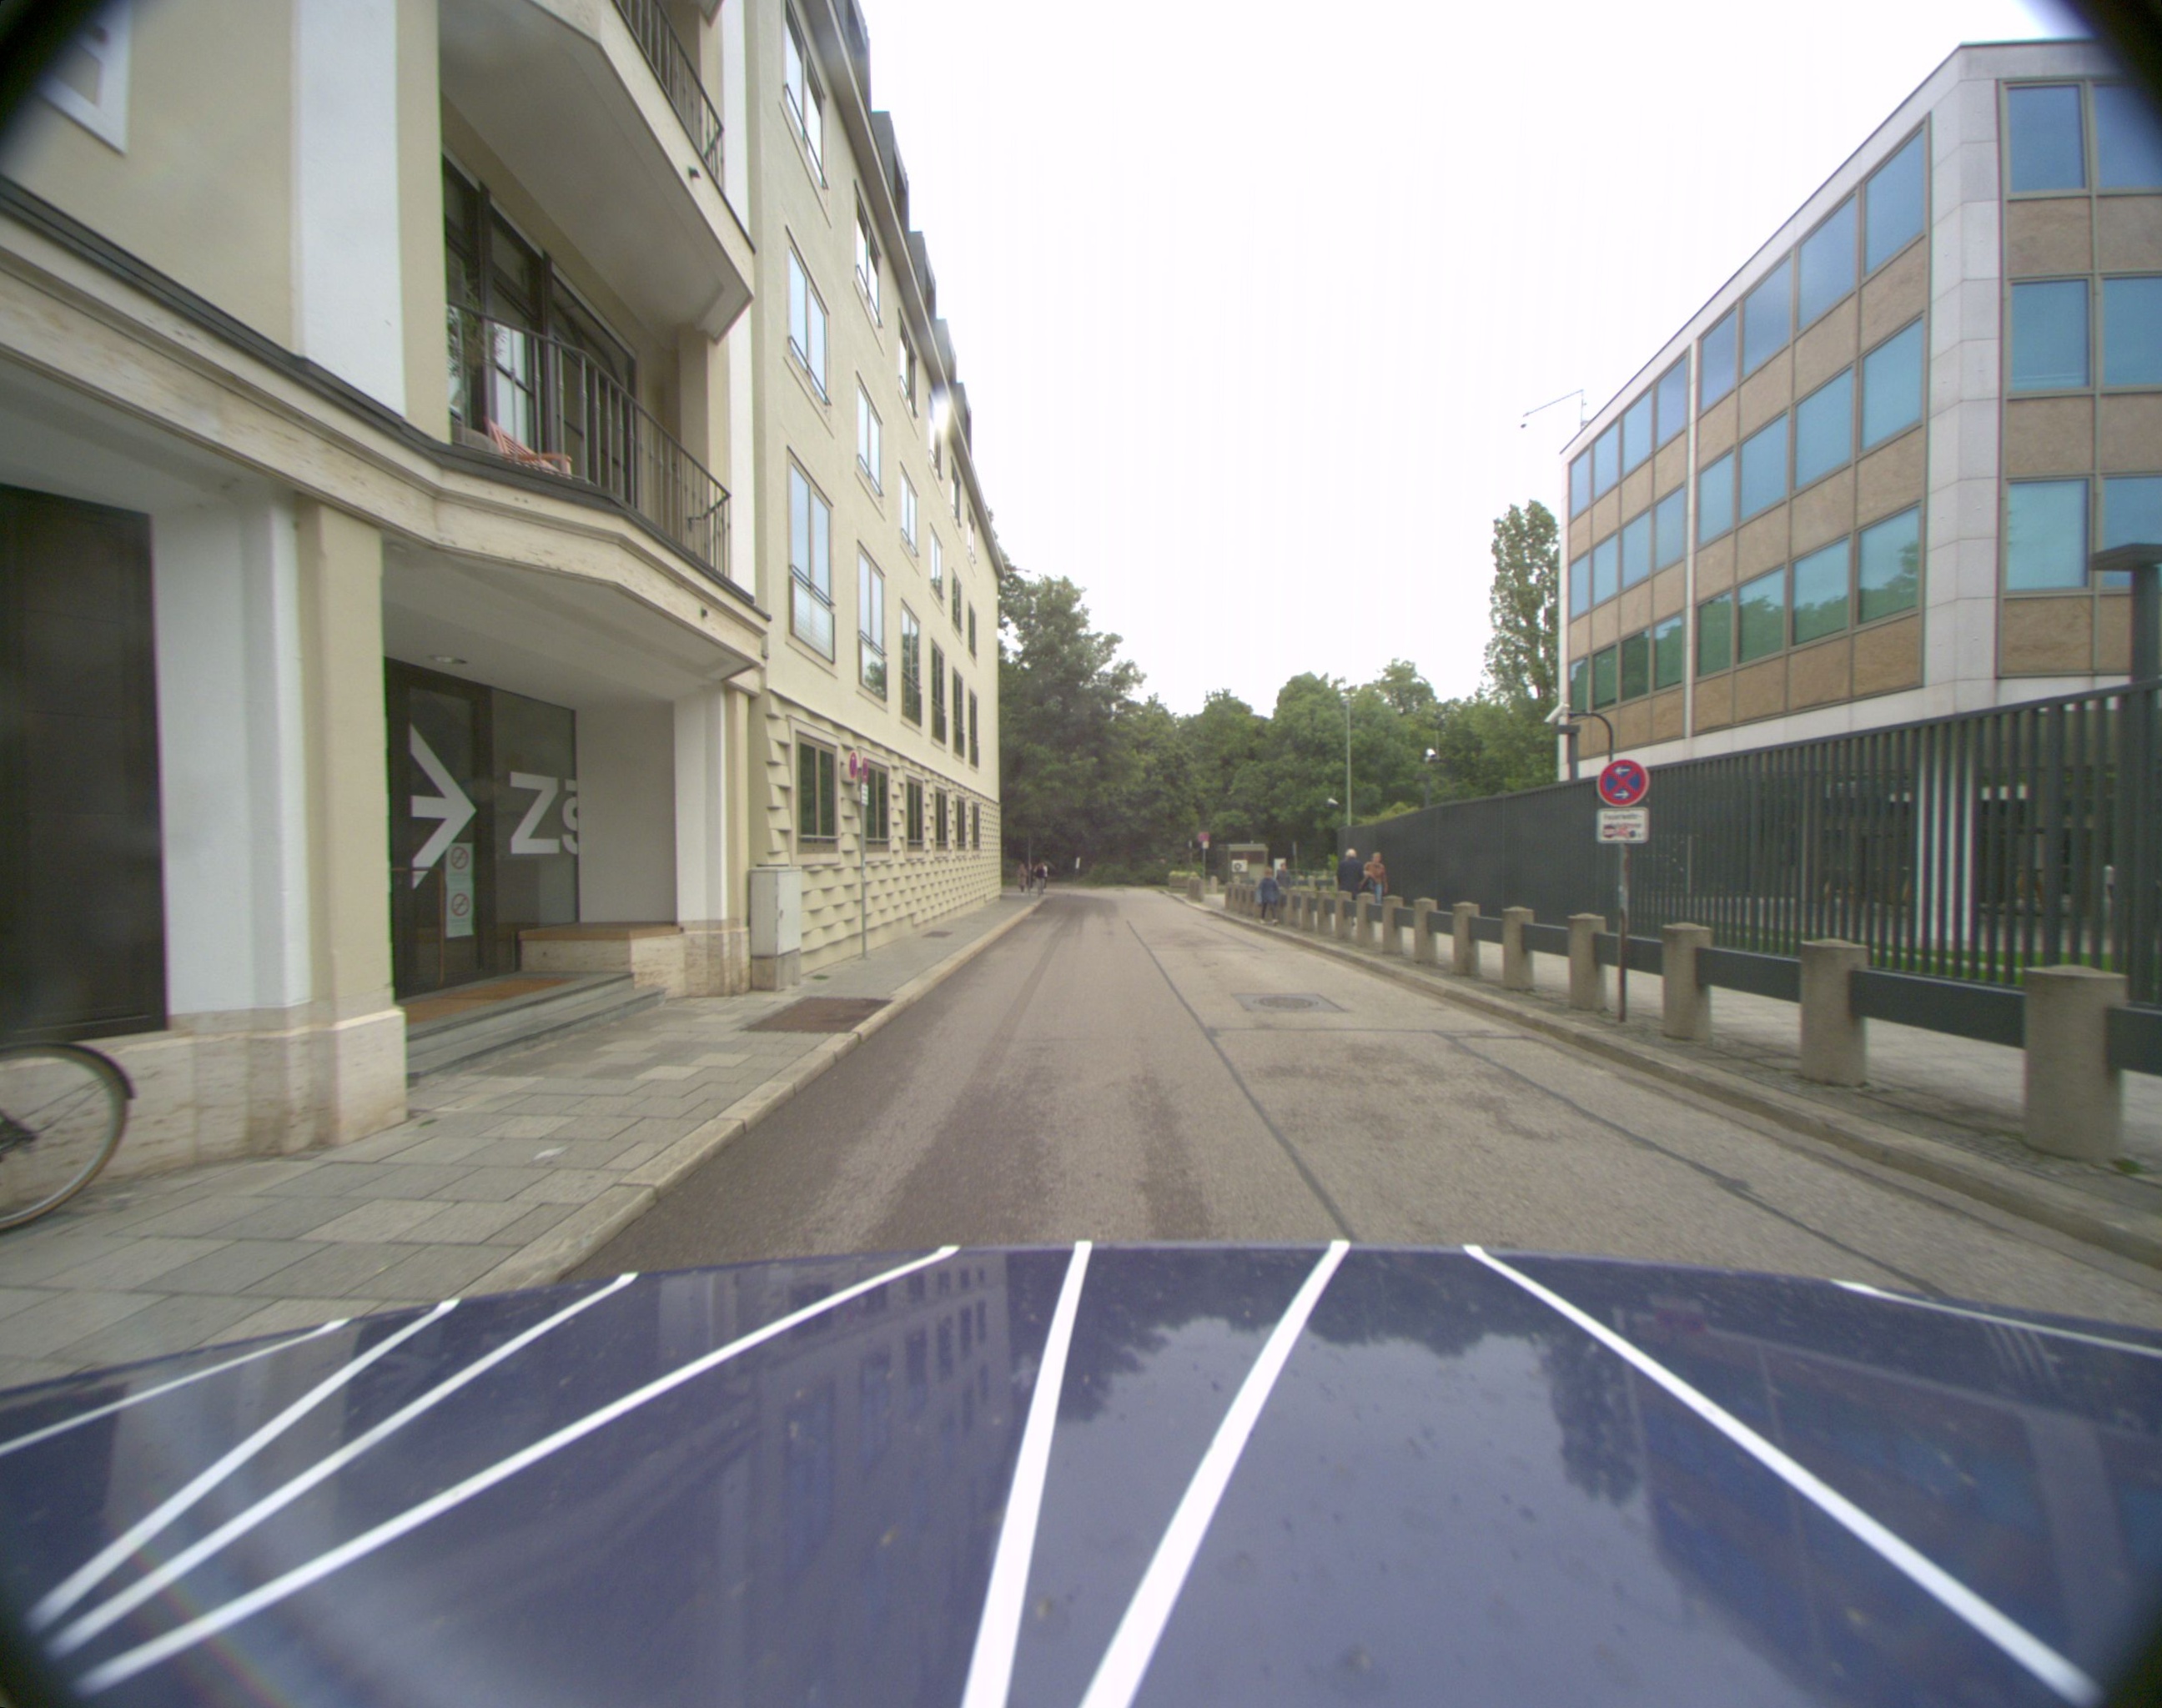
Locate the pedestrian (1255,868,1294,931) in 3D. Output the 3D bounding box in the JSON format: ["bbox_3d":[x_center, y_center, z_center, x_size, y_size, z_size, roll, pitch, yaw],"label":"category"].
[{"bbox_3d":[4.697,1.083,18.518,0.640,1.458,1.079,-2,0,1],"label":"pedestrian"}]

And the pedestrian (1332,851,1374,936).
[{"bbox_3d":[5.775,0.818,16.138,0.625,1.758,0.767,0,0,0],"label":"pedestrian"}]

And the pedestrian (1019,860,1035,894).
[{"bbox_3d":[-2.694,1.156,38.041,0.753,1.671,0.656,0,0,0],"label":"pedestrian"}]

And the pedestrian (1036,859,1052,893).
[{"bbox_3d":[-1.884,1.127,38.691,0.753,1.725,0.853,0,0,-1],"label":"pedestrian"}]

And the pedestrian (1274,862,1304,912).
[{"bbox_3d":[6.654,1.038,24.348,0.778,1.531,0.933,-2,0,9],"label":"pedestrian"}]

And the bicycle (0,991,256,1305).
[{"bbox_3d":[-4.143,1.106,2.432,0.464,0.988,2.081,1,-1,11],"label":"bicycle"}]

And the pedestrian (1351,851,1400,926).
[{"bbox_3d":[7.016,0.812,18.158,0.826,1.713,0.906,-2,0,6],"label":"pedestrian"}]
